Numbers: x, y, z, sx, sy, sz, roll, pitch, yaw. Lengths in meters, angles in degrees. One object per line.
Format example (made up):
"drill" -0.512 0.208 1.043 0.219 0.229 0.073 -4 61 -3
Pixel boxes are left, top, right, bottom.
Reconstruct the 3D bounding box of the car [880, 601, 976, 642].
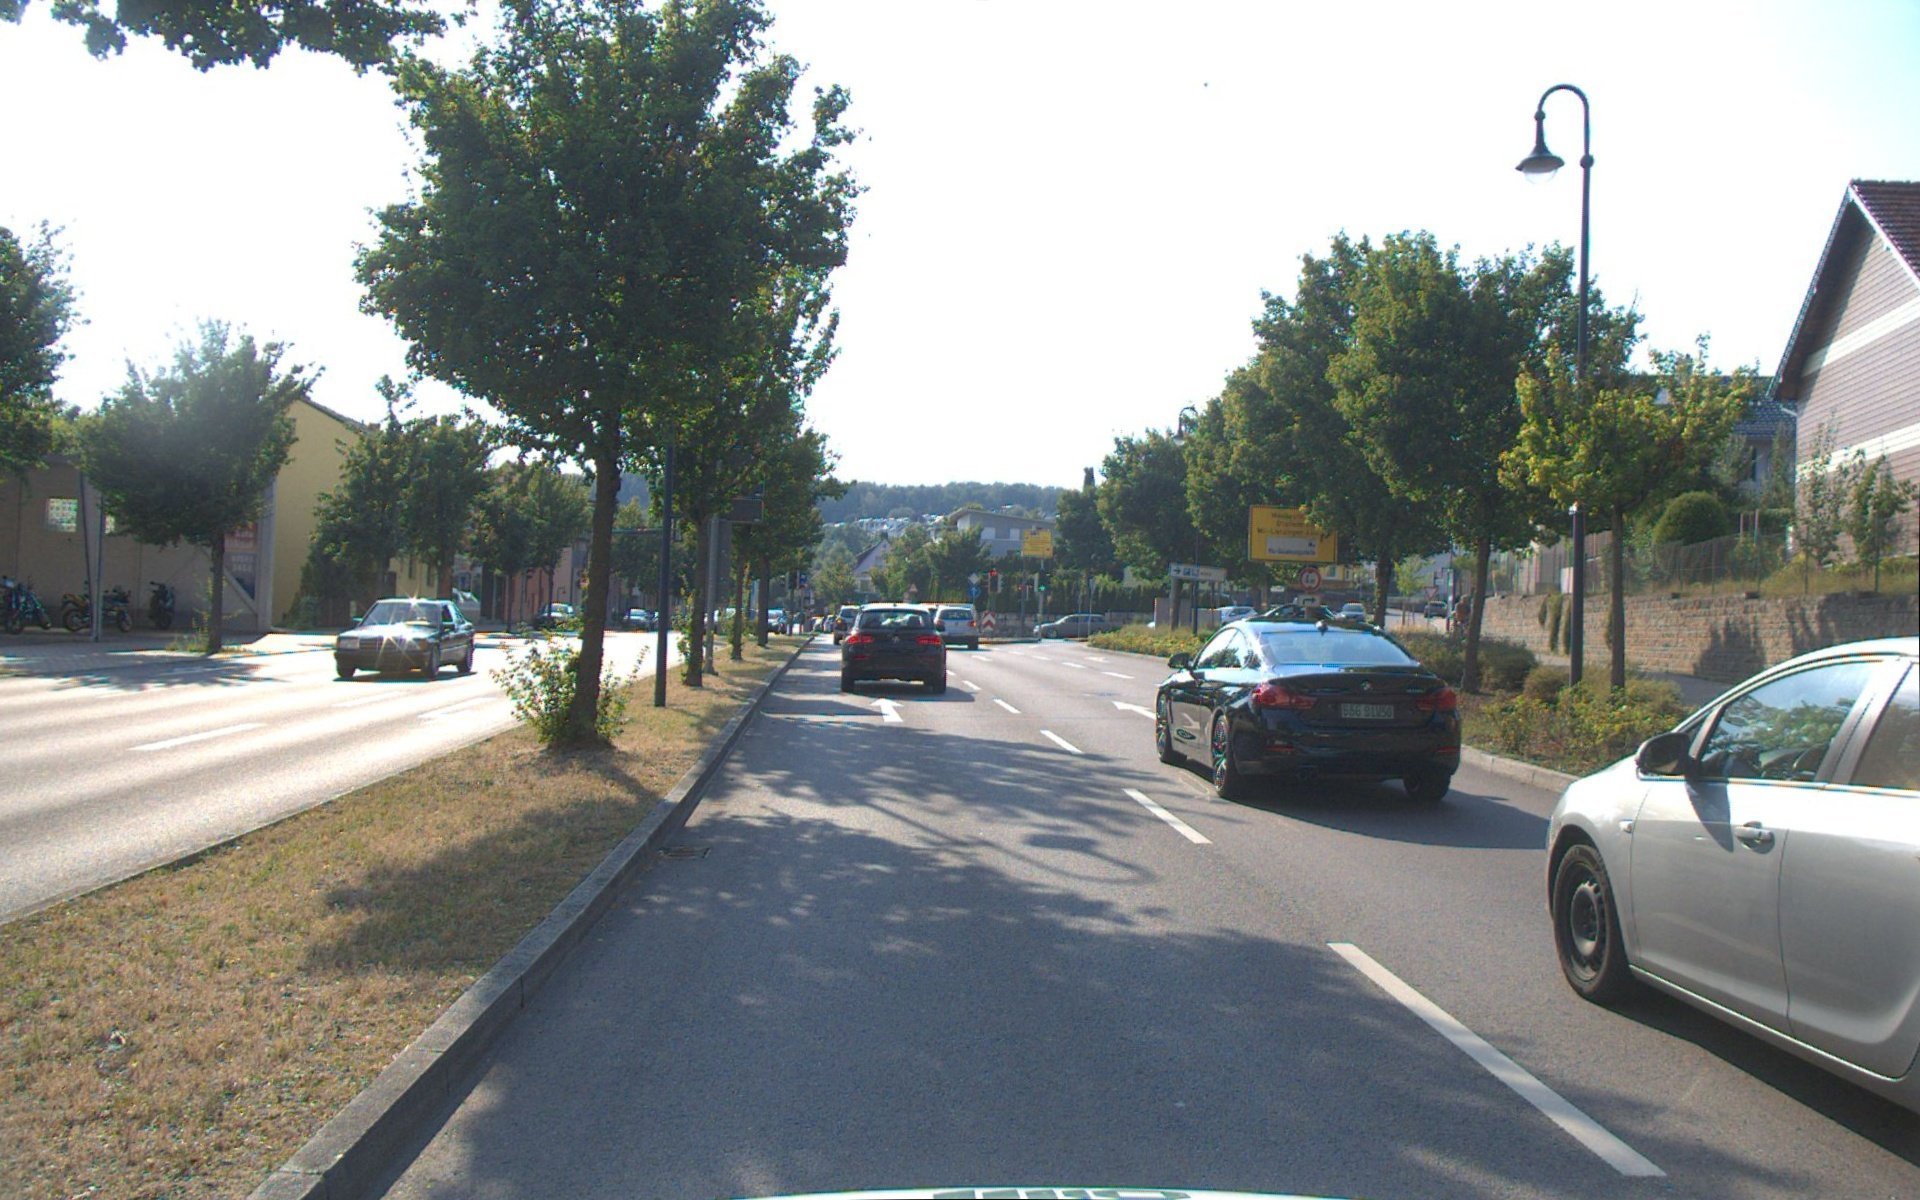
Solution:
"car" -1.816 1.201 92.306 5.019 2.167 2.140 1 0 -13

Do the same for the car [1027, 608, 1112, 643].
"car" 6.516 1.499 98.922 4.848 1.963 2.145 1 0 -3

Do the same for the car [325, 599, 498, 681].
"car" -9.966 0.685 30.402 1.720 1.385 4.484 1 0 -1

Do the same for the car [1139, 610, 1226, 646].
"car" 12.788 1.590 95.067 4.461 1.963 2.137 1 0 -16

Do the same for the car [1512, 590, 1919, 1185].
"car" 3.301 0.740 5.139 1.686 1.516 4.306 0 0 -1

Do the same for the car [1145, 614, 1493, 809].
"car" 2.860 0.832 14.199 1.882 1.388 4.350 1 0 -2

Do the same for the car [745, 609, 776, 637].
"car" -12.876 1.473 106.786 1.695 1.708 3.998 1 0 -3

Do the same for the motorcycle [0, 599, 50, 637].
"motorcycle" -26.082 0.492 45.764 0.505 1.022 1.541 1 0 26

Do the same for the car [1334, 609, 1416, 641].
"car" 25.974 1.558 103.551 4.543 1.861 1.997 1 0 -7

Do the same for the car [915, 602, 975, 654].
"car" -0.592 1.004 60.689 1.887 1.800 4.450 1 0 -5

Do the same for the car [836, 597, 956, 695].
"car" -1.024 0.734 28.557 1.685 1.516 4.354 1 0 3

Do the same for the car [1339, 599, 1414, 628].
"car" 28.269 0.918 112.364 4.543 1.861 1.997 1 0 -7

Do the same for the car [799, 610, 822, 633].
"car" -13.777 1.982 152.714 1.736 2.049 4.000 1 0 0

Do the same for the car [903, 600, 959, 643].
"car" -1.300 0.914 72.576 2.173 1.800 4.450 1 0 -5

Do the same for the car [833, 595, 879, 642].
"car" -4.184 0.729 66.147 1.721 1.800 3.967 1 0 -5

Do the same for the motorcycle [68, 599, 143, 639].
"motorcycle" -23.770 0.532 46.026 0.506 1.088 1.865 0 0 31

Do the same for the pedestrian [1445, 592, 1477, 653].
"pedestrian" 14.658 0.652 48.366 0.681 1.732 0.950 1 0 4

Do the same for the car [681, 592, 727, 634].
"car" -12.941 0.649 83.855 2.099 2.044 5.117 1 0 -7
